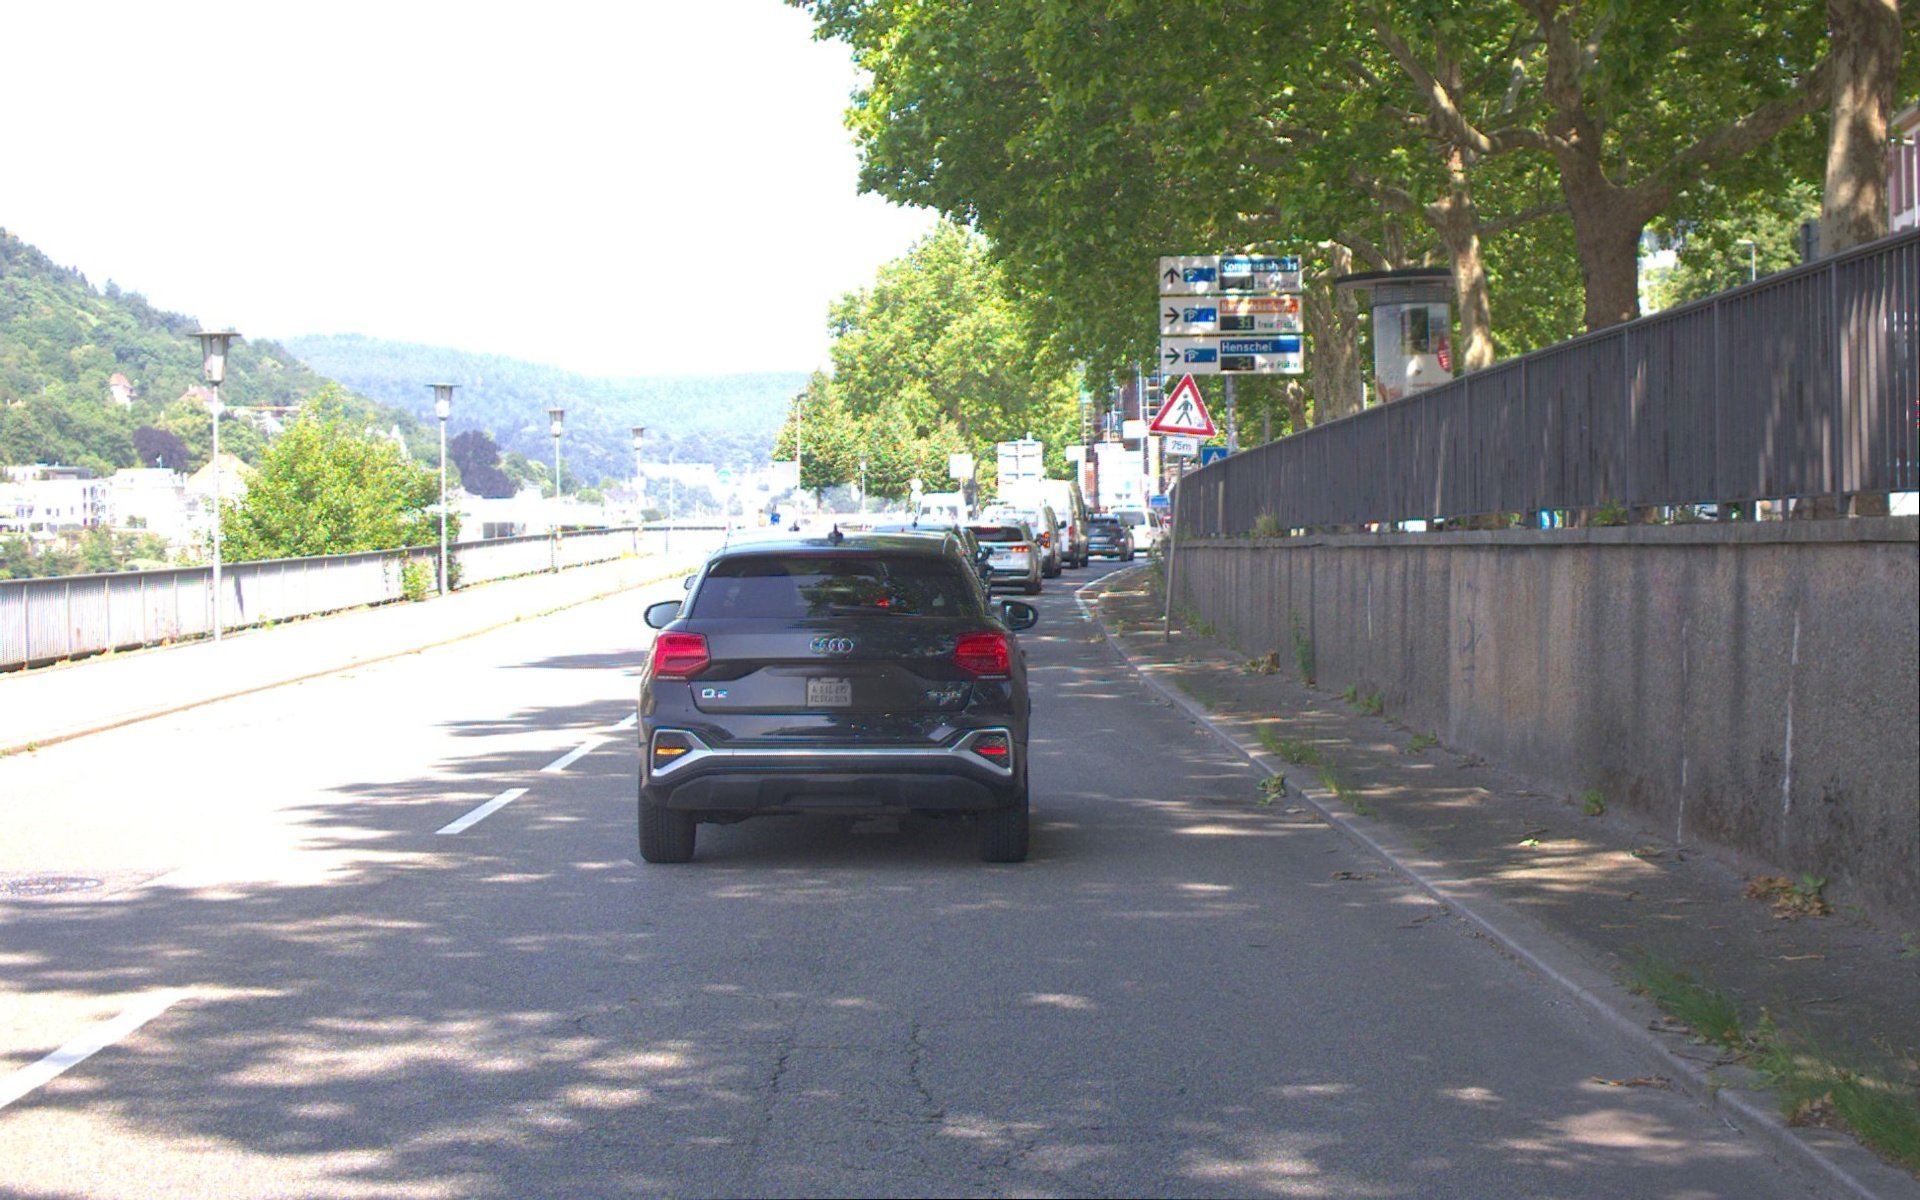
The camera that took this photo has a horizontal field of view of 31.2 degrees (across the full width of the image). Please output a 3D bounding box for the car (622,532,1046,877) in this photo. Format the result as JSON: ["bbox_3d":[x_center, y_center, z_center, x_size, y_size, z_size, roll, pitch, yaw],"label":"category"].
[{"bbox_3d":[-0.582,0.414,16.860,1.828,1.481,4.000,0,1,-1],"label":"car"}]

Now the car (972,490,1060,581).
[{"bbox_3d":[1.401,-1.625,86.899,1.993,2.162,4.000,-3,1,-1],"label":"car"}]

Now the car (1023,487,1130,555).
[{"bbox_3d":[3.770,-2.596,112.804,3.098,2.006,5.825,-3,1,-1],"label":"car"}]

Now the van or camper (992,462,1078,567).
[{"bbox_3d":[2.145,-2.443,98.866,2.310,2.837,4.246,-3,1,1],"label":"van or camper"}]

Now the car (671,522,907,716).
[{"bbox_3d":[-1.367,0.105,28.684,1.828,1.506,4.000,0,1,-1],"label":"car"}]

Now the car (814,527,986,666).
[{"bbox_3d":[-0.680,-0.077,38.765,1.828,1.481,4.000,0,1,-1],"label":"car"}]

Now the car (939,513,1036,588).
[{"bbox_3d":[0.518,-0.996,68.609,1.828,1.439,4.000,0,1,-1],"label":"car"}]

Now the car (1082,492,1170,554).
[{"bbox_3d":[5.925,-2.762,123.636,2.661,2.006,5.825,-3,1,-1],"label":"car"}]
